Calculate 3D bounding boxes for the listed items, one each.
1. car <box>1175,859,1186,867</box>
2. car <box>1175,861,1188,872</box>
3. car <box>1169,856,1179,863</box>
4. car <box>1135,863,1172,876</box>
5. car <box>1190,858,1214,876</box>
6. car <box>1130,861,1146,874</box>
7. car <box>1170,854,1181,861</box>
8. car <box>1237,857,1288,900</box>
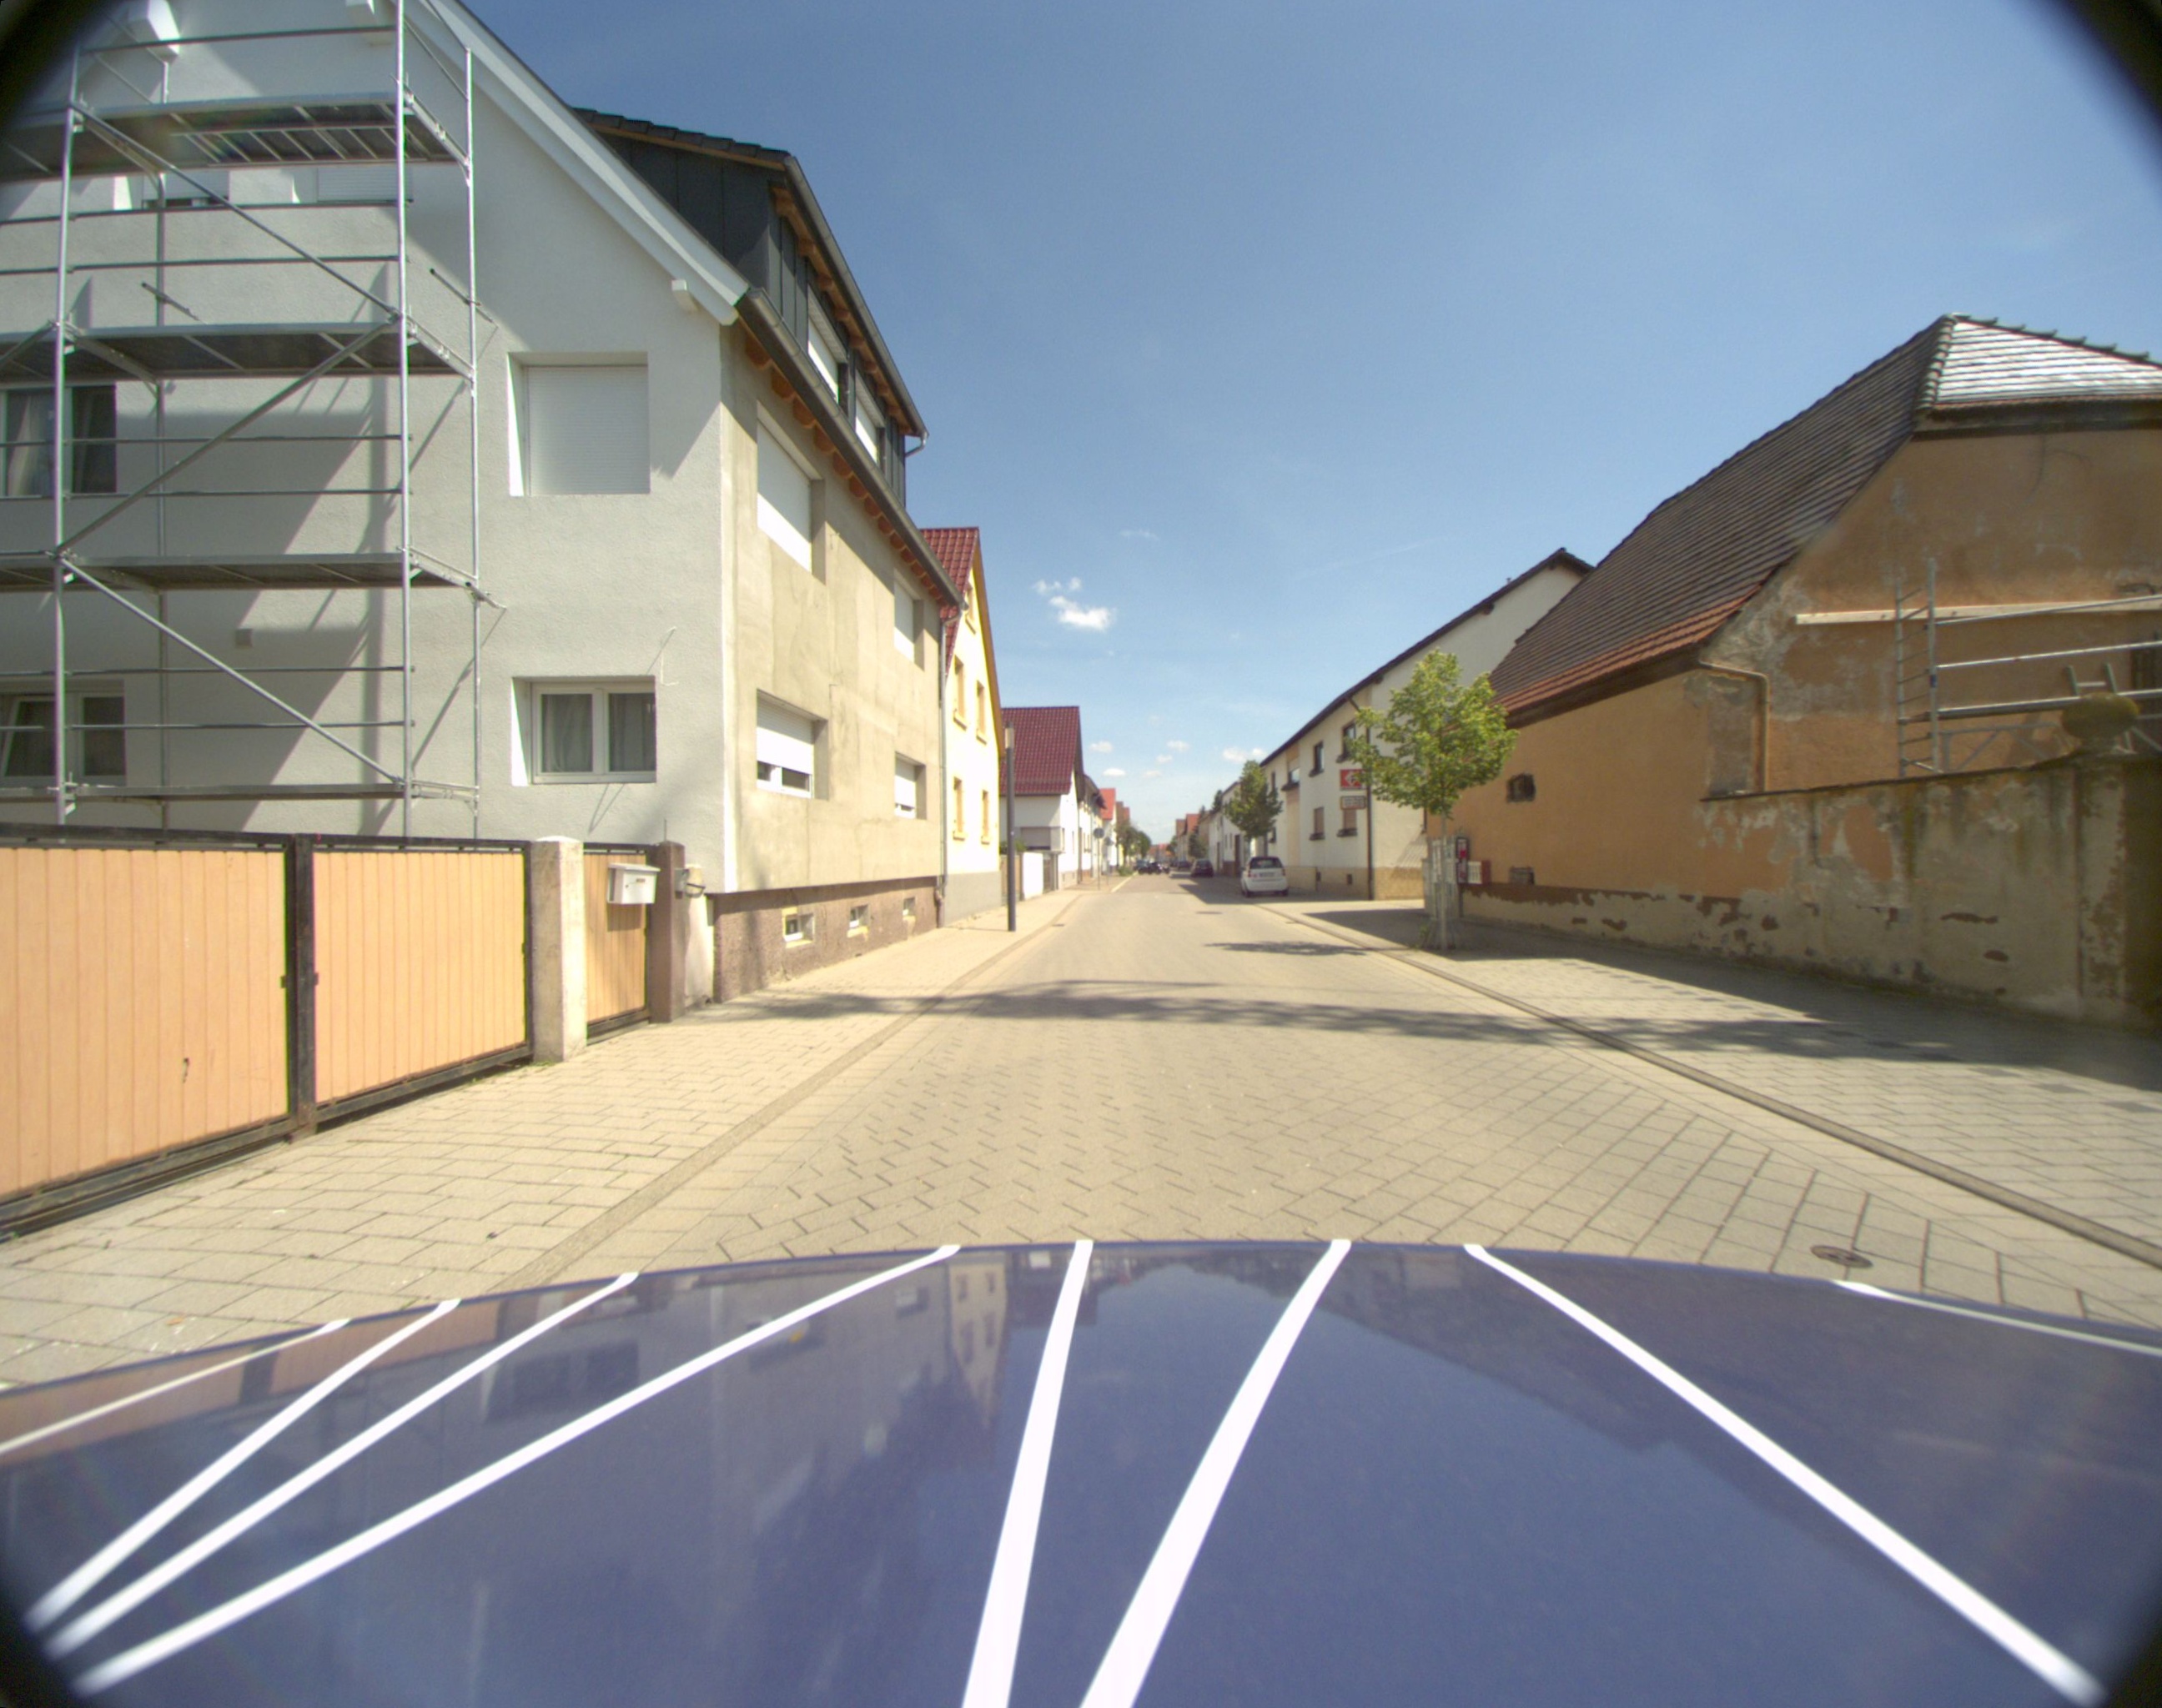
[{"bbox_3d":[18.958,1.743,144.967,1.854,1.543,4.001,0,0,3],"label":"car"},{"bbox_3d":[16.361,2.006,123.757,1.851,1.688,4.002,0,0,6],"label":"car"},{"bbox_3d":[20.627,1.213,168.526,1.998,1.570,4.002,0,0,5],"label":"car"},{"bbox_3d":[7.758,1.652,81.416,1.731,1.420,3.808,0,0,-41],"label":"car"},{"bbox_3d":[10.810,1.146,67.823,1.751,1.557,3.956,0,0,4],"label":"car"},{"bbox_3d":[7.982,1.890,106.592,1.997,1.696,4.002,0,0,7],"label":"car"},{"bbox_3d":[20.228,0.764,162.650,1.998,1.570,4.001,0,0,3],"label":"car"},{"bbox_3d":[7.085,0.930,29.830,1.575,1.552,2.823,-3,0,7],"label":"car"}]
